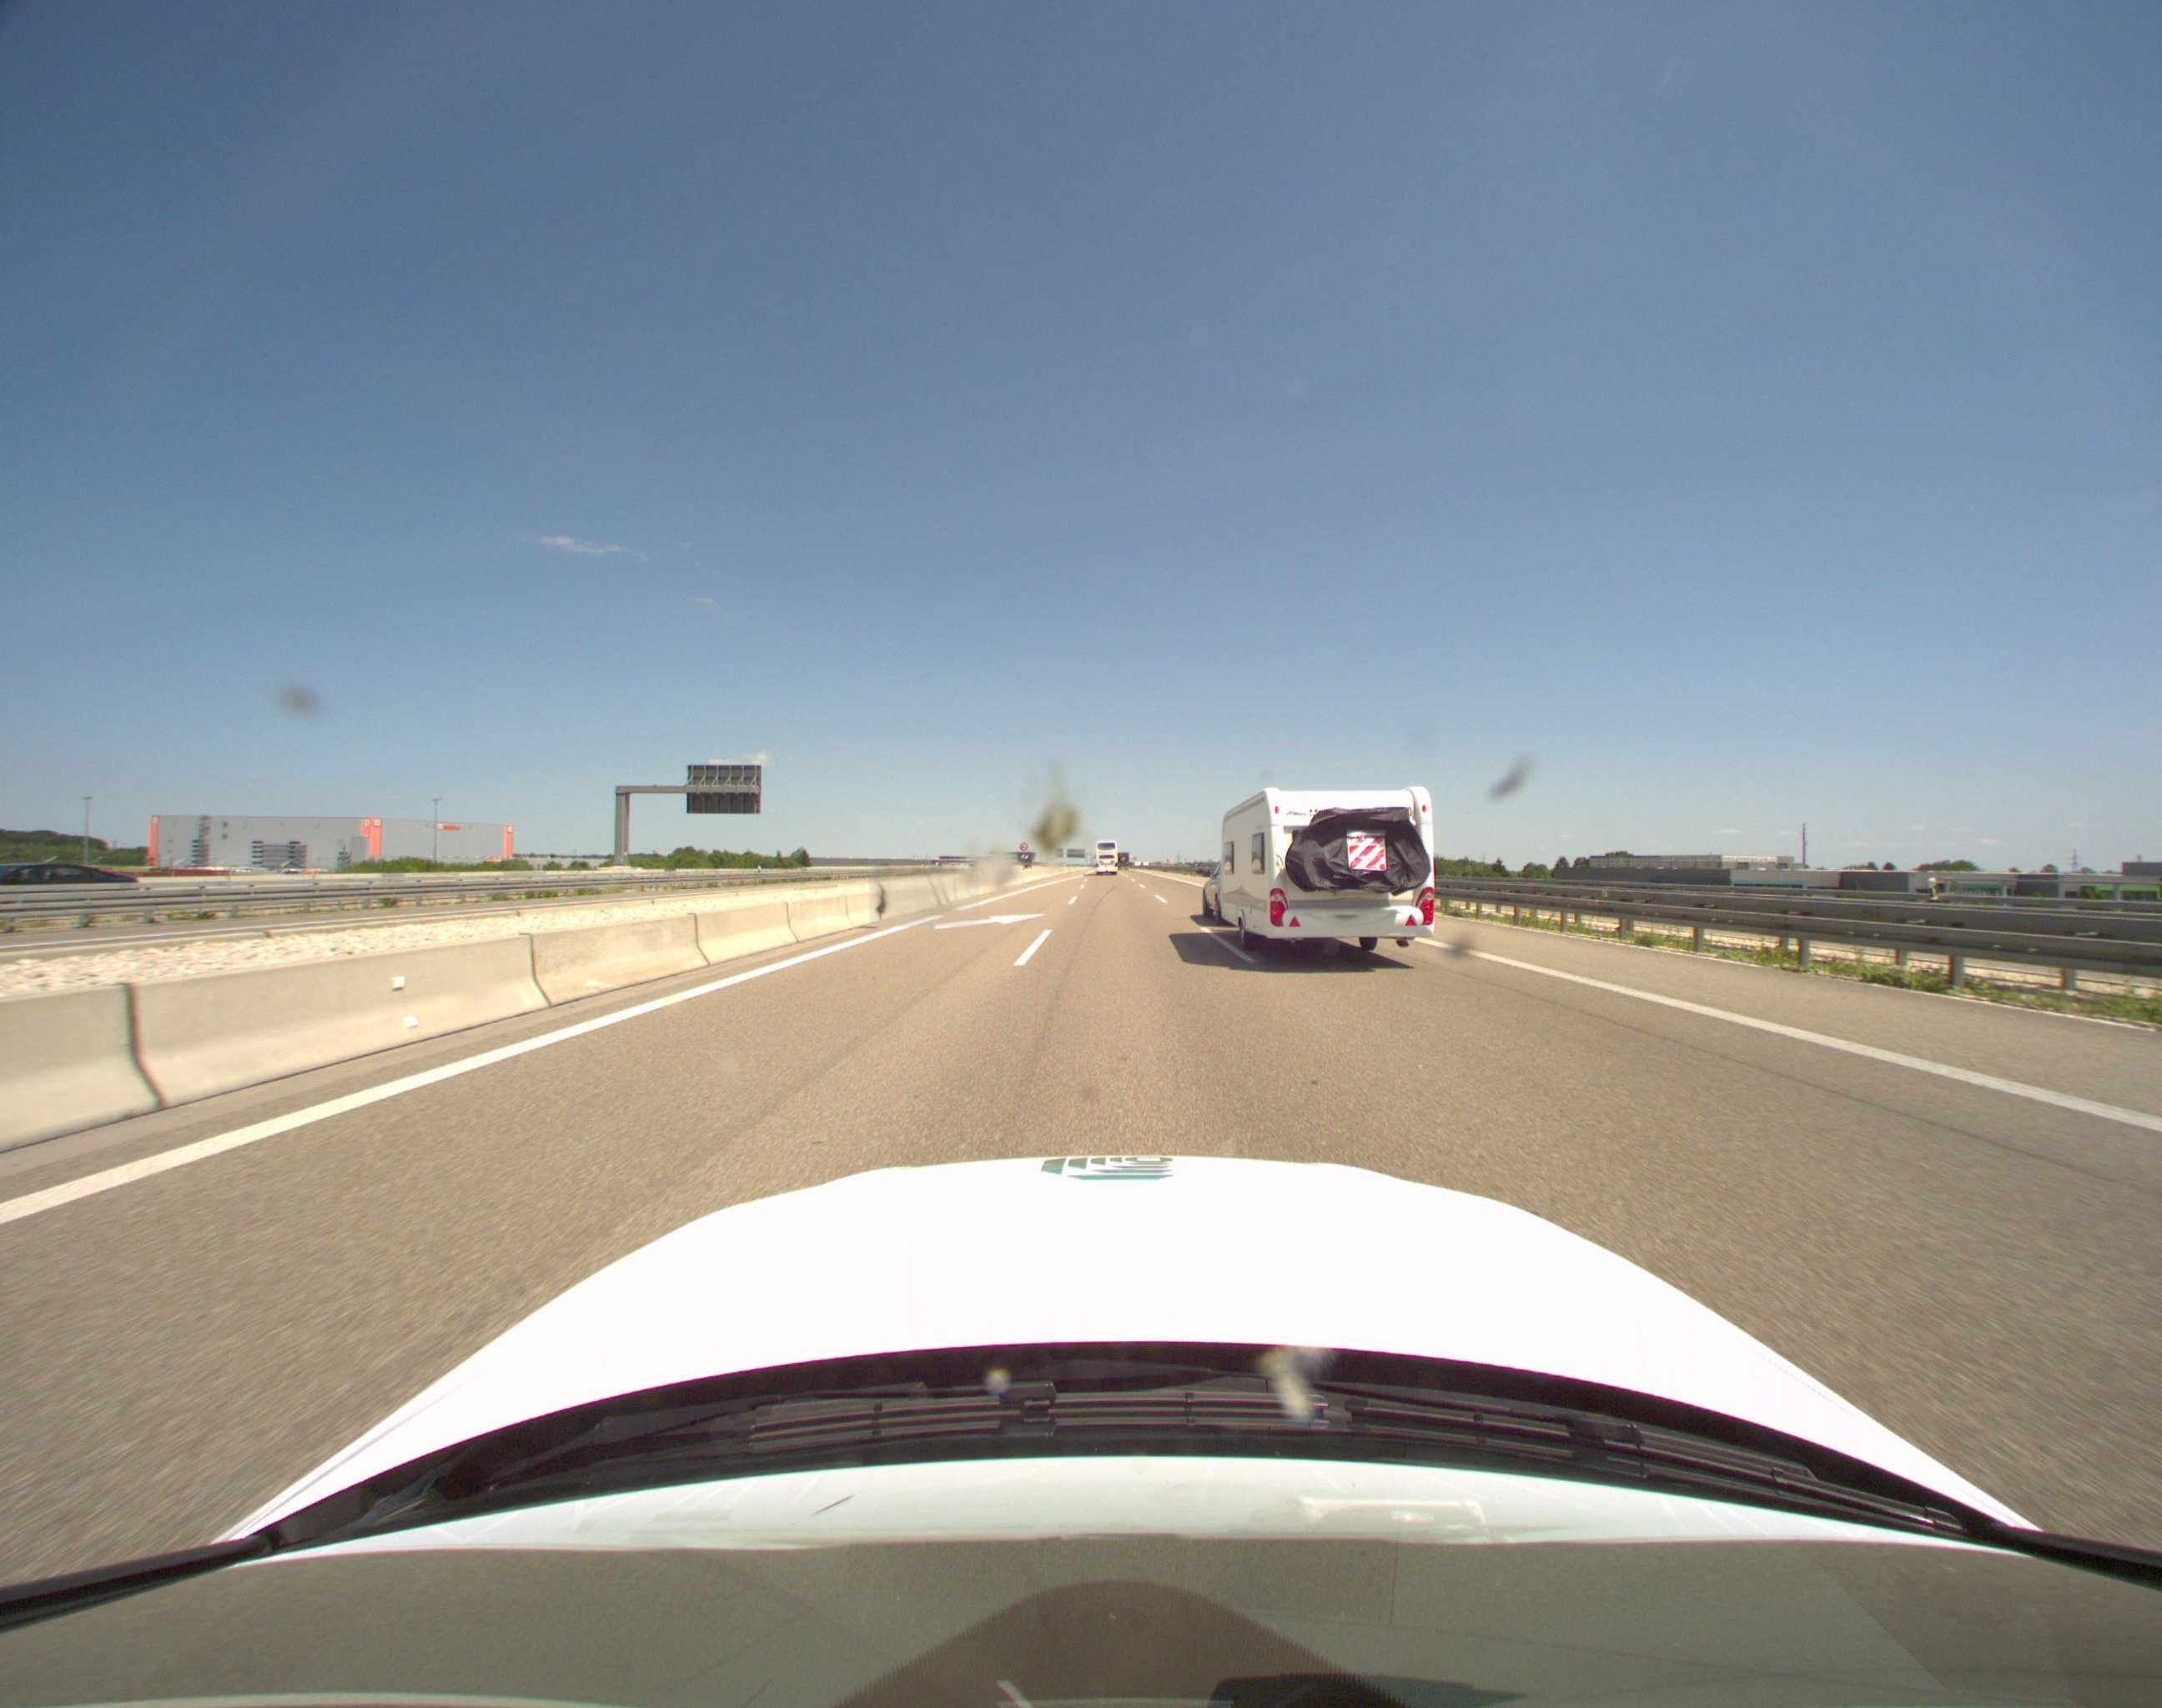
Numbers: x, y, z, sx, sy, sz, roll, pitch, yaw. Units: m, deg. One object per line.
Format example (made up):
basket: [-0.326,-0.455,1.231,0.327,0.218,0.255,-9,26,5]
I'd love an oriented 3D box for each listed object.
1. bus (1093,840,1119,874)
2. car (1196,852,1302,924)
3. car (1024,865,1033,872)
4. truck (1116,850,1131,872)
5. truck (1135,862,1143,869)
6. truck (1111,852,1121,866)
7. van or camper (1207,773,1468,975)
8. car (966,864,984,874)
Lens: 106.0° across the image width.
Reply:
bus: [3.004,0.401,99.284,2.970,3.975,9.104,0,-1,0]
car: [4.110,0.788,20.709,1.873,1.623,4.906,0,-1,2]
car: [-12.472,3.411,193.740,1.726,1.537,4.550,0,-1,2]
truck: [10.258,1.770,195.835,3.365,4.465,13.574,0,-3,3]
truck: [17.140,3.314,241.208,1.986,2.014,4.001,0,0,2]
truck: [9.581,1.379,223.075,2.429,3.789,6.493,0,-1,0]
van or camper: [3.905,0.284,14.399,2.502,2.593,7.823,0,0,3]
car: [-15.192,2.126,116.983,1.802,1.435,4.443,0,-1,2]
